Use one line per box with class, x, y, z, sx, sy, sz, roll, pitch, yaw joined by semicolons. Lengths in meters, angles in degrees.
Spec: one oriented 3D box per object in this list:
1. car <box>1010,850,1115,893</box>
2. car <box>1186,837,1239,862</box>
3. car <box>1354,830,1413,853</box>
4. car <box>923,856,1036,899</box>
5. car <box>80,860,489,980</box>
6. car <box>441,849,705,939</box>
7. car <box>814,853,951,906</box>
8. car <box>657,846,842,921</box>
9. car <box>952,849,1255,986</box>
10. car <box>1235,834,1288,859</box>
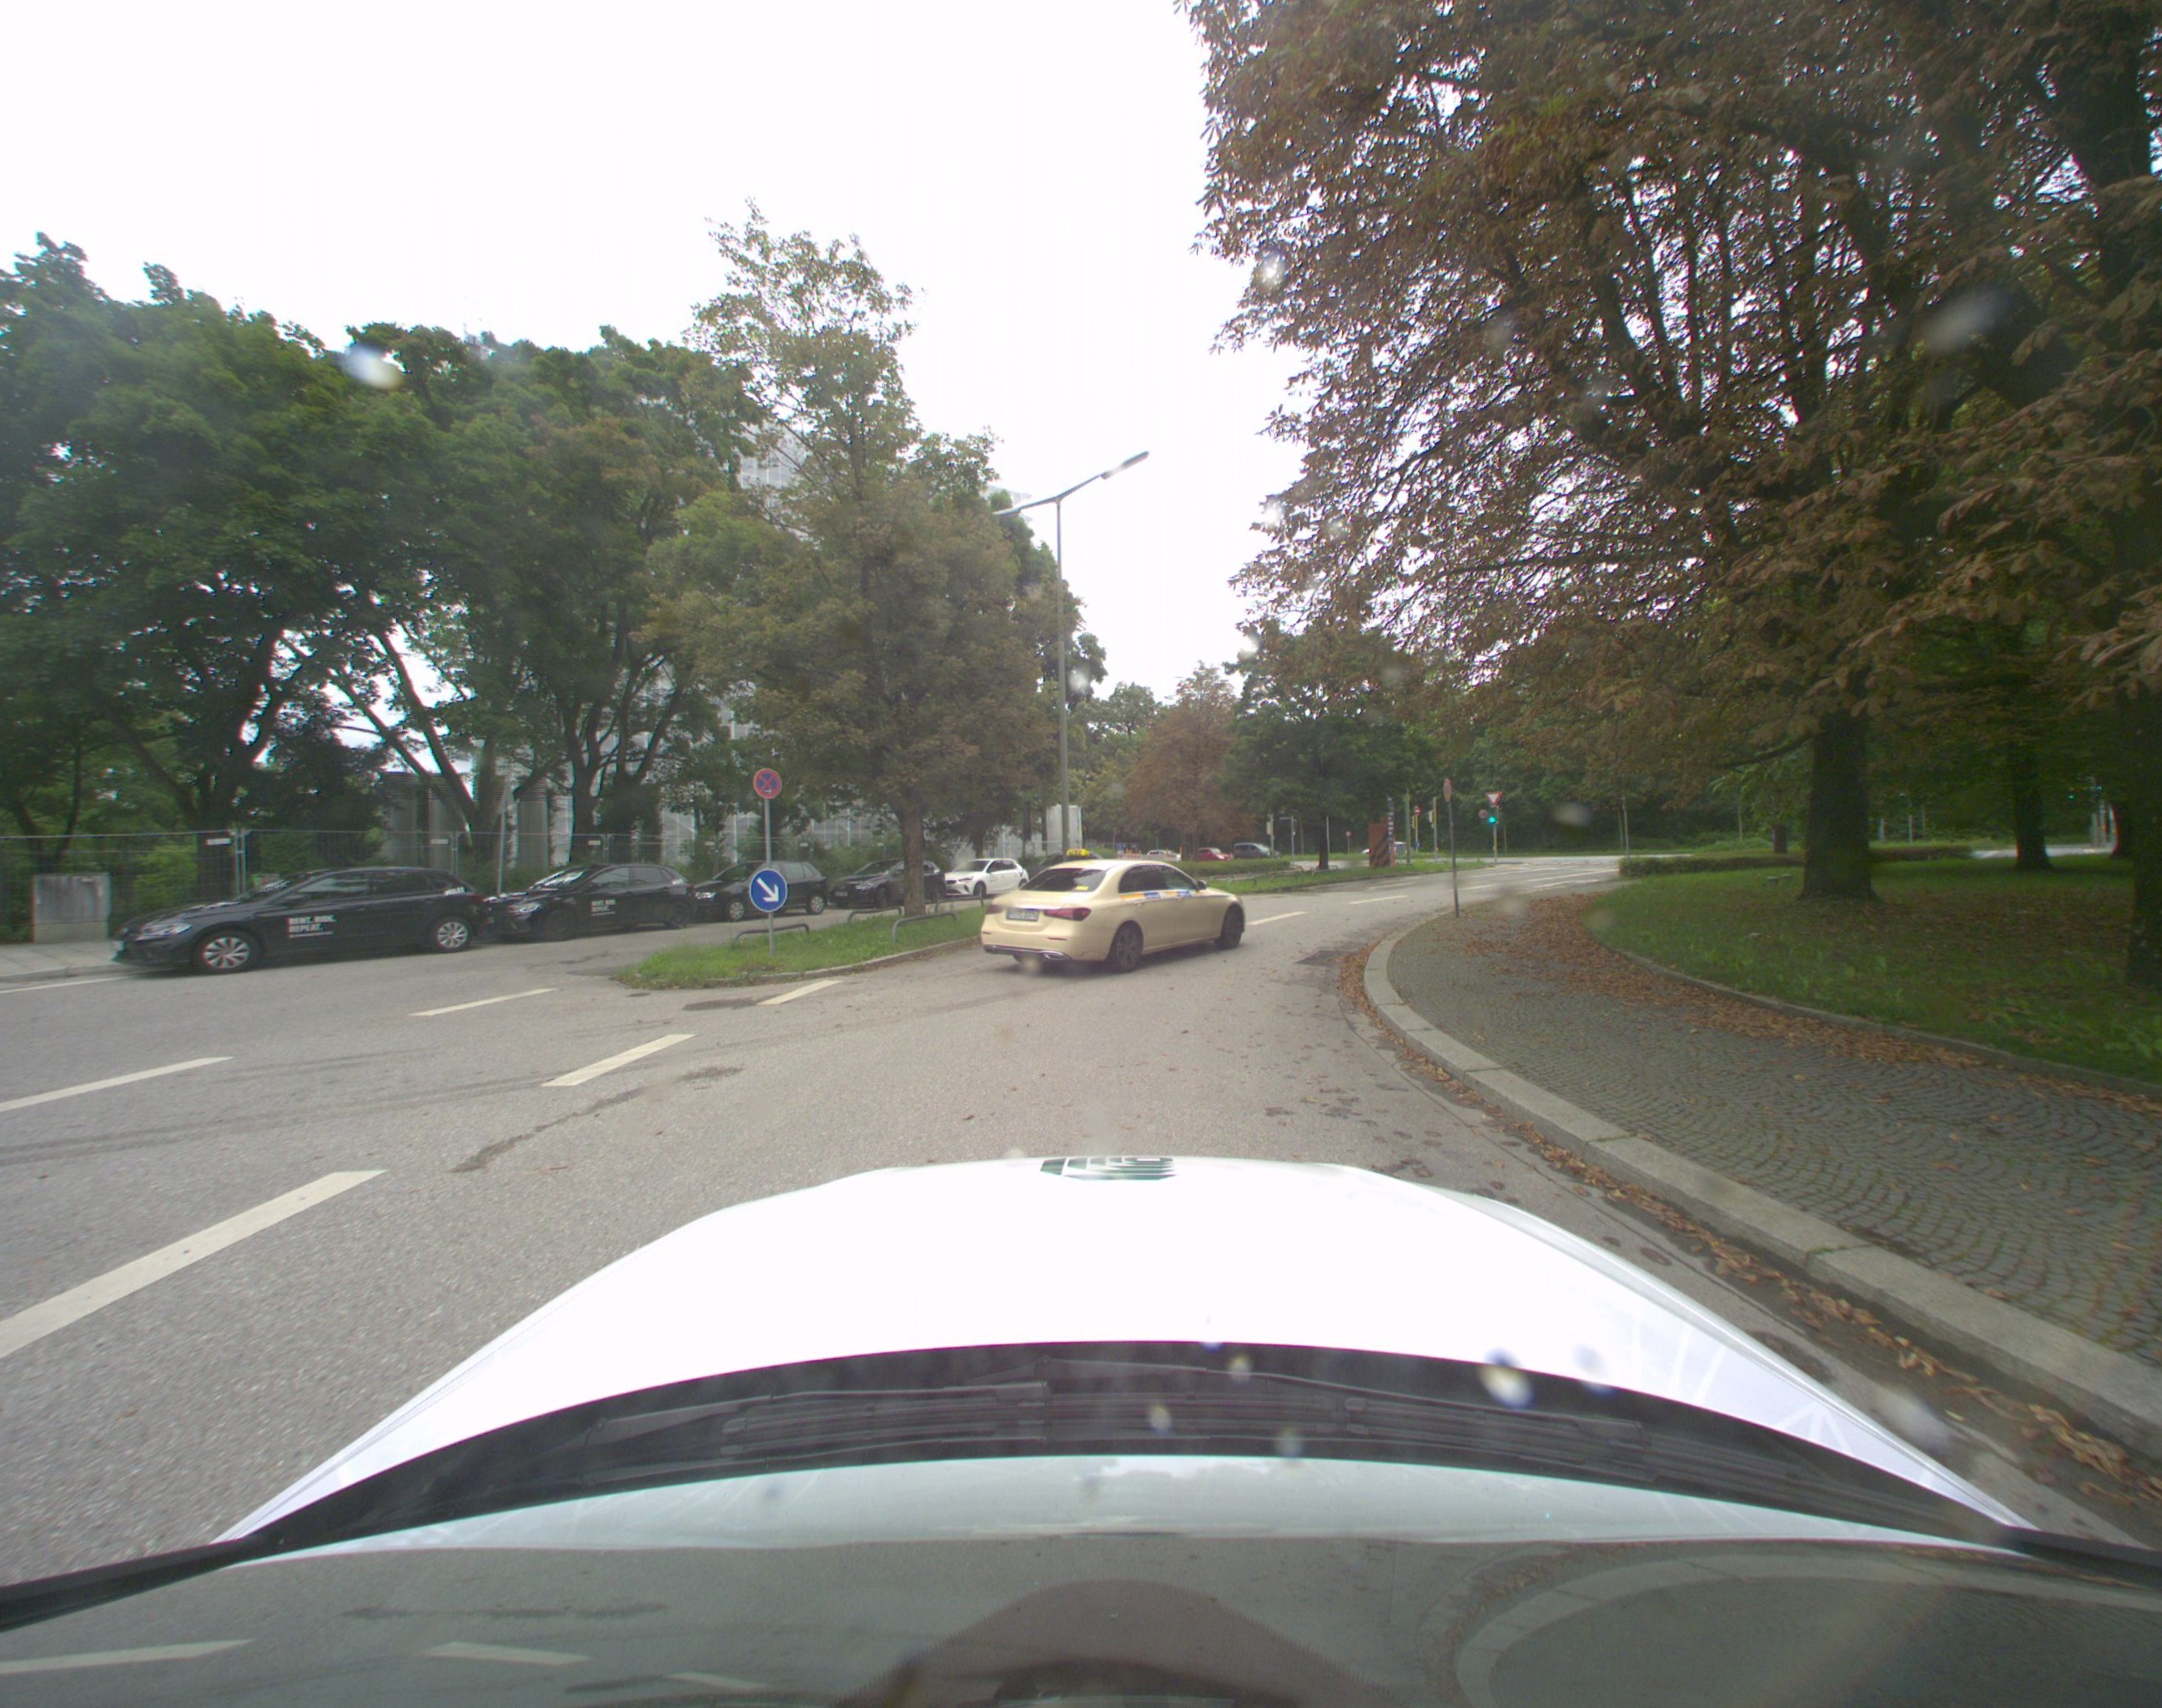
car;-0.663;0.714;33.005;1.867;1.606;4.424;-2;-2;38
car;11.280;-0.396;70.226;2.011;2.013;4.106;-1;0;-44
car;24.669;-1.034;66.499;2.010;1.750;4.077;-1;0;-38
car;-3.551;0.794;29.149;1.779;1.383;4.245;-2;-1;30
car;-11.909;0.850;12.523;1.975;1.432;4.067;1;1;28
car;-9.985;0.687;16.357;1.975;1.541;4.024;0;0;27
car;-5.961;0.732;24.923;1.817;1.461;4.030;-2;-1;27
car;-8.259;0.654;20.648;1.975;1.706;4.024;0;0;27
car;0.582;0.747;12.012;1.869;1.545;4.884;-1;0;39
car;15.449;-0.606;69.798;2.011;2.013;3.951;-1;0;-44
